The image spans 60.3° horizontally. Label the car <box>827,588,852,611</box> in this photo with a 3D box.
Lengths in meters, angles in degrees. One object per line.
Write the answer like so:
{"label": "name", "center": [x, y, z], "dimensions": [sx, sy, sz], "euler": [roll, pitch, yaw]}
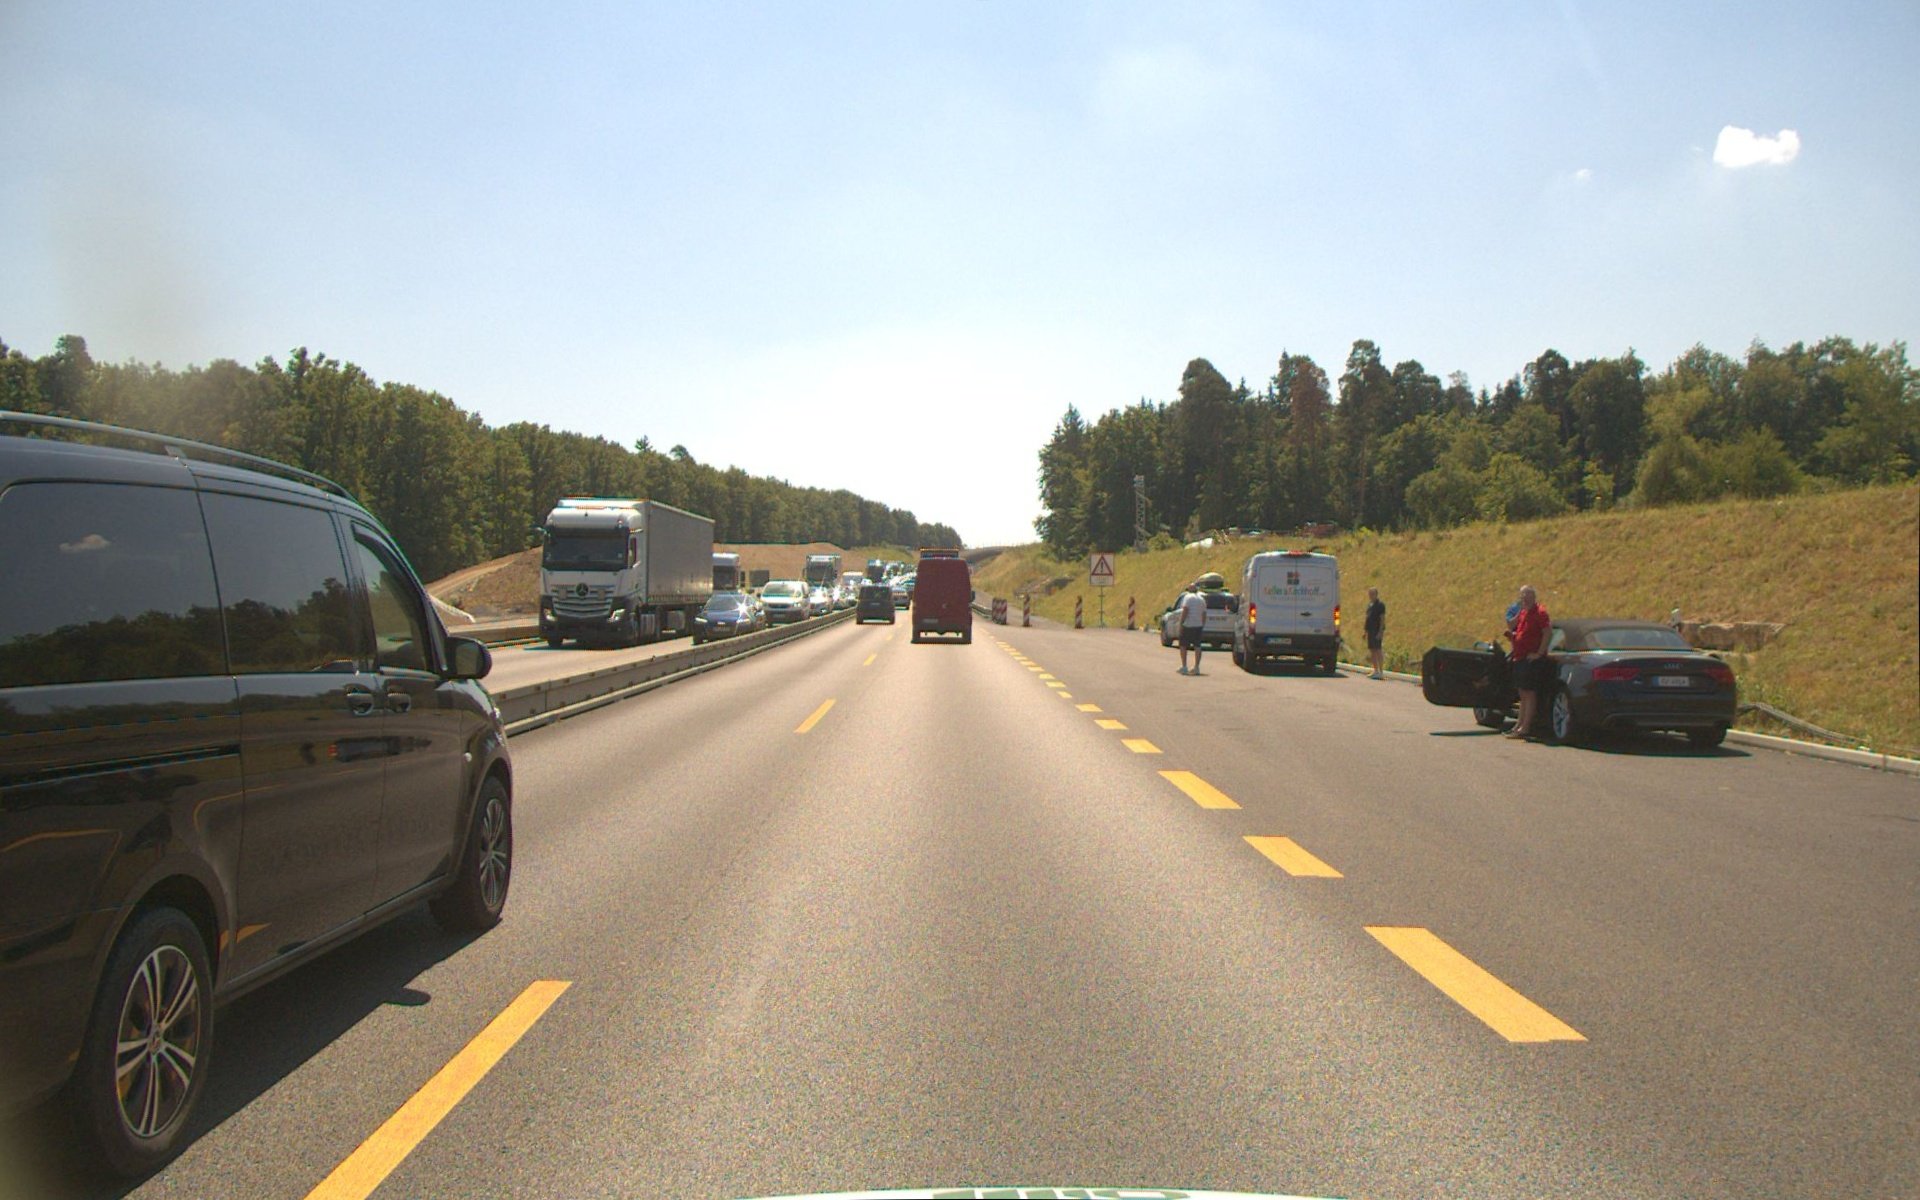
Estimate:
{"label": "car", "center": [-8.826, -0.001, 121.560], "dimensions": [1.649, 1.624, 3.223], "euler": [1, -1, -1]}

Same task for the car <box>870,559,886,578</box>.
{"label": "car", "center": [-12.709, -4.863, 255.303], "dimensions": [2.337, 2.625, 3.998], "euler": [1, -1, -2]}

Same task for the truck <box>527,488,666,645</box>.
{"label": "truck", "center": [-10.066, -0.851, 46.253], "dimensions": [2.712, 4.115, 4.942], "euler": [1, -1, 0]}

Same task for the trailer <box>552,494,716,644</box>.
{"label": "trailer", "center": [-10.162, -0.900, 53.304], "dimensions": [2.734, 4.146, 13.708], "euler": [1, 0, -1]}

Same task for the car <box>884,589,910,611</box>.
{"label": "car", "center": [-4.581, 0.024, 120.190], "dimensions": [1.794, 1.549, 3.960], "euler": [1, -1, -1]}

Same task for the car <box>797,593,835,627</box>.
{"label": "car", "center": [-7.479, 0.534, 86.238], "dimensions": [1.690, 1.659, 4.389], "euler": [1, -1, -2]}

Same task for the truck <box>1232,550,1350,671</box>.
{"label": "truck", "center": [7.473, 0.197, 37.891], "dimensions": [2.084, 2.500, 5.929], "euler": [1, 0, 6]}

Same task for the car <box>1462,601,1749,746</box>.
{"label": "car", "center": [7.554, 0.787, 19.858], "dimensions": [1.620, 1.451, 4.544], "euler": [-2, 0, 0]}

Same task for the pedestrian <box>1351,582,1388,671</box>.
{"label": "pedestrian", "center": [8.450, 0.545, 34.119], "dimensions": [0.552, 1.827, 0.667], "euler": [1, -1, -2]}

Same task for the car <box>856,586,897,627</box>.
{"label": "car", "center": [-3.966, 0.279, 78.963], "dimensions": [1.716, 1.856, 4.781], "euler": [1, 0, -1]}

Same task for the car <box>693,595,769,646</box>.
{"label": "car", "center": [-6.731, 0.613, 48.987], "dimensions": [1.692, 1.411, 4.482], "euler": [1, -1, -2]}

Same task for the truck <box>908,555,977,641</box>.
{"label": "truck", "center": [-0.629, -0.030, 54.577], "dimensions": [2.109, 2.635, 5.331], "euler": [1, -1, -2]}

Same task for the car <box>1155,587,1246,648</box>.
{"label": "car", "center": [7.434, 0.498, 51.510], "dimensions": [1.739, 1.706, 4.851], "euler": [2, 1, -4]}

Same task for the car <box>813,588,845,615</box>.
{"label": "car", "center": [-8.251, 0.113, 104.588], "dimensions": [1.591, 1.584, 4.069], "euler": [1, -1, 1]}

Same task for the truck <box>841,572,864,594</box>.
{"label": "truck", "center": [-12.835, -1.991, 197.578], "dimensions": [2.351, 2.399, 5.226], "euler": [1, -1, 0]}

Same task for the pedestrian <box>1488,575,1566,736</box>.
{"label": "pedestrian", "center": [6.672, 0.644, 19.472], "dimensions": [0.631, 1.860, 0.555], "euler": [1, 0, -22]}

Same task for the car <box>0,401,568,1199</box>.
{"label": "car", "center": [-2.923, 0.522, 5.768], "dimensions": [1.836, 1.883, 5.477], "euler": [1, 0, -1]}

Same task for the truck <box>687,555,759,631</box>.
{"label": "truck", "center": [-10.262, -0.256, 71.864], "dimensions": [2.349, 3.112, 5.062], "euler": [1, -1, 0]}

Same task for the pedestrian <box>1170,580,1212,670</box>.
{"label": "pedestrian", "center": [4.804, 0.520, 34.454], "dimensions": [0.709, 1.860, 0.719], "euler": [1, -1, -5]}

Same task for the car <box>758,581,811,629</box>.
{"label": "car", "center": [-7.428, 0.239, 70.325], "dimensions": [1.788, 1.960, 5.261], "euler": [1, -1, -2]}

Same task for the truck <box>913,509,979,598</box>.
{"label": "truck", "center": [-1.065, -3.132, 119.153], "dimensions": [4.311, 5.592, 16.599], "euler": [1, -1, -1]}

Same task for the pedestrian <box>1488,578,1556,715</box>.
{"label": "pedestrian", "center": [7.773, 0.635, 22.885], "dimensions": [0.613, 1.860, 0.640], "euler": [1, 0, -13]}

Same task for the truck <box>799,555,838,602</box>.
{"label": "truck", "center": [-12.109, -1.776, 142.295], "dimensions": [2.457, 3.680, 9.639], "euler": [1, -1, 0]}

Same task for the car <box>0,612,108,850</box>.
{"label": "car", "center": [-6.525, 0.753, 8.651], "dimensions": [1.694, 1.411, 4.858], "euler": [1, -1, -2]}
